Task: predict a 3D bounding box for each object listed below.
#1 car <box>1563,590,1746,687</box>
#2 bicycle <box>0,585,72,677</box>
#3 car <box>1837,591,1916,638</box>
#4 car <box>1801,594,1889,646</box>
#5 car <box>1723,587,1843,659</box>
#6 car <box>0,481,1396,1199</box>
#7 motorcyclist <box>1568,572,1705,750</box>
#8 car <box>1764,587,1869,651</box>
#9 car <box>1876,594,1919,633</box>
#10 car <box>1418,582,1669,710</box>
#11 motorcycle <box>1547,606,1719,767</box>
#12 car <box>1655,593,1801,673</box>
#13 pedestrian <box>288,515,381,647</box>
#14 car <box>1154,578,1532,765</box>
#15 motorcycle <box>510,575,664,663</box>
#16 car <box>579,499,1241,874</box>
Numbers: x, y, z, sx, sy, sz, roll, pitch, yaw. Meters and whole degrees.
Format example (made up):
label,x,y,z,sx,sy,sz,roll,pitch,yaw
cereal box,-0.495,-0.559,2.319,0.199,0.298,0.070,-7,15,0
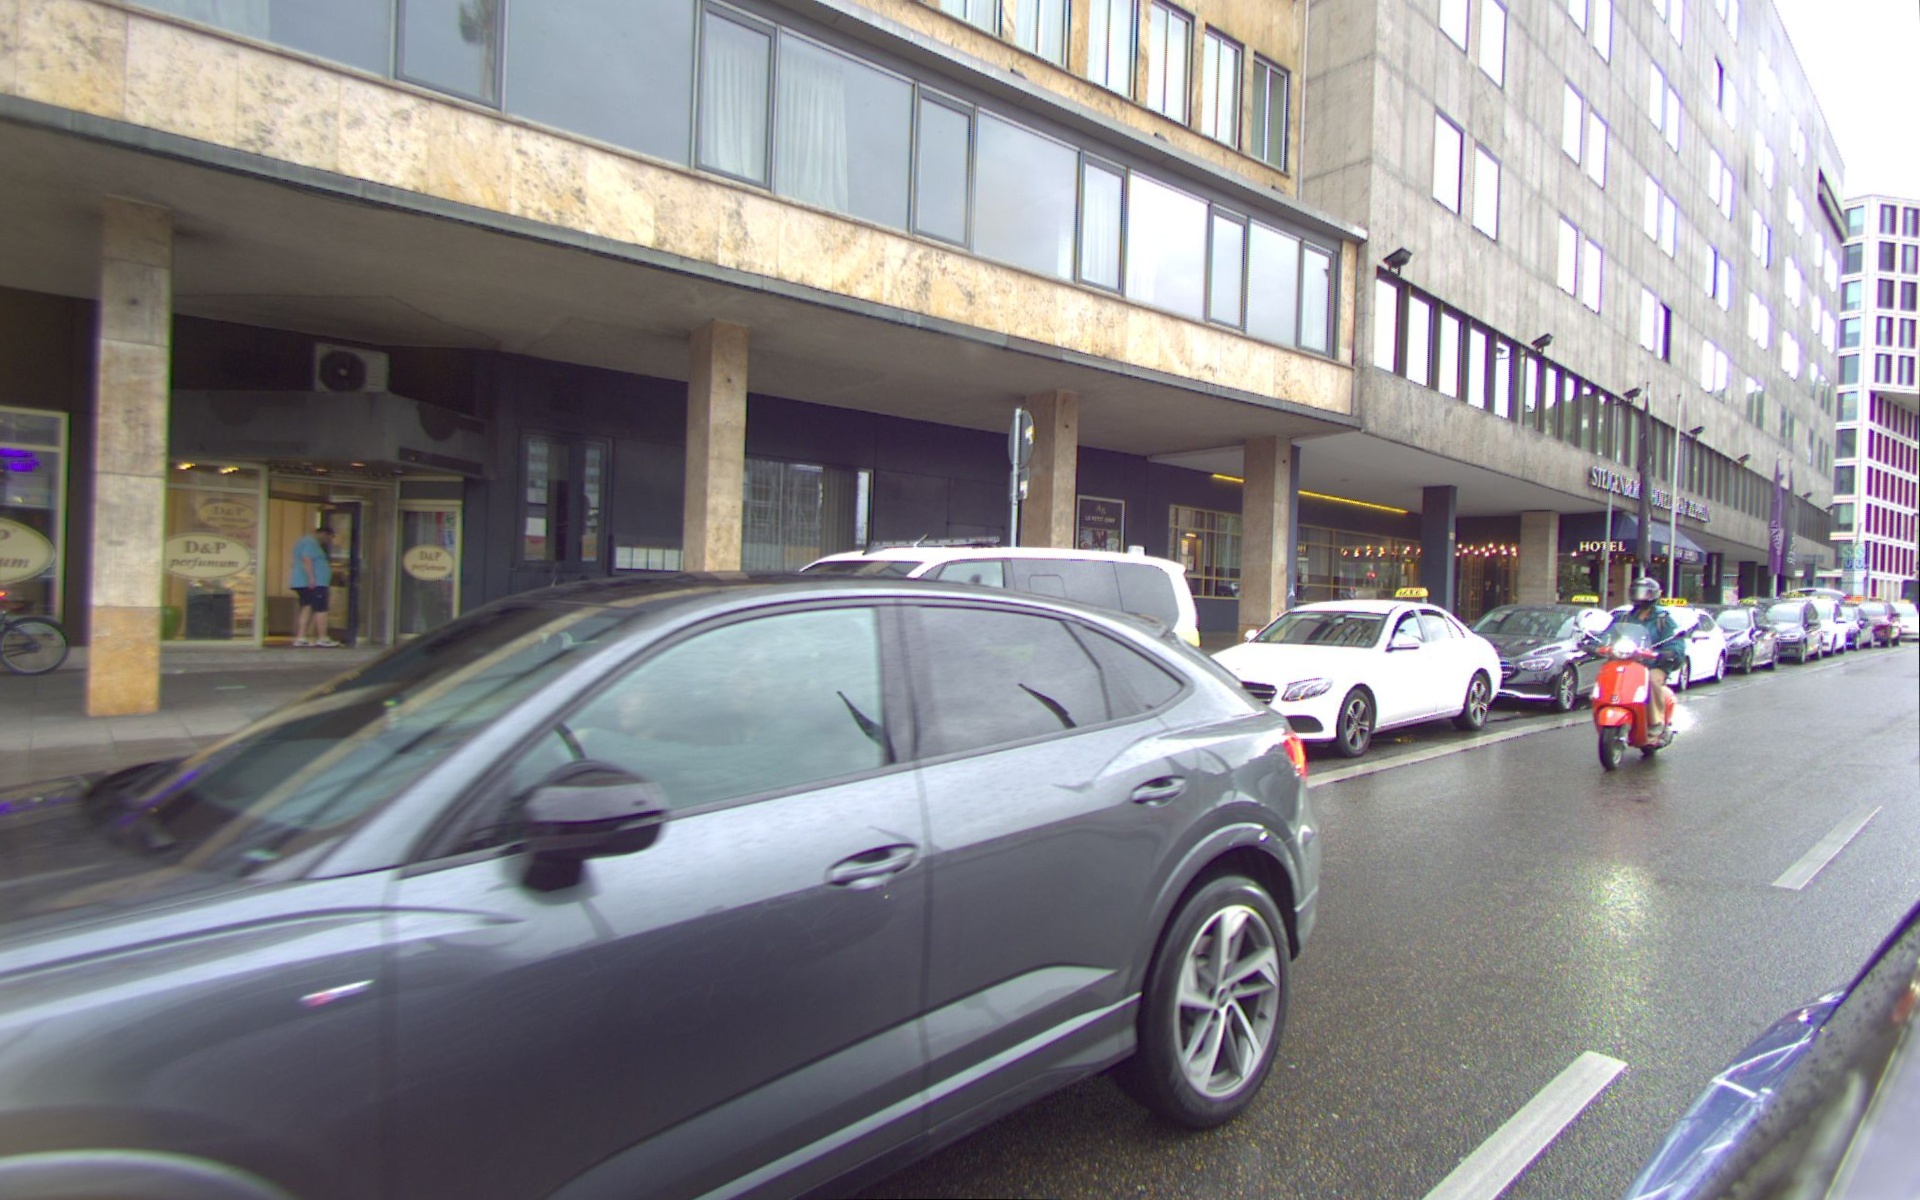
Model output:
label,x,y,z,sx,sy,sz,roll,pitch,yaw
car,13.141,0.621,19.024,4.731,1.612,1.729,0,0,-41
bicycle,-11.644,0.358,11.413,2.428,1.059,0.657,0,0,-41
car,33.671,0.482,37.152,3.932,1.634,1.729,0,0,-41
car,29.708,0.619,33.953,3.932,1.634,1.729,0,0,-41
car,21.917,0.540,26.884,4.731,1.764,1.729,0,0,-41
car,-0.736,0.606,2.790,4.266,1.520,1.882,0,0,-40
motorcyclist,6.257,0.525,9.364,0.829,1.547,0.860,0,0,-40
car,25.701,0.504,30.317,4.731,1.764,1.729,0,0,-41
car,41.208,0.544,43.939,3.932,1.634,1.729,0,0,-41
car,8.925,0.572,15.296,4.731,1.658,1.877,0,0,-41
motorcycle,6.276,0.726,9.397,1.931,1.323,0.848,0,0,-41
car,17.397,0.659,22.836,4.731,1.612,1.729,0,0,-41
pedestrian,-8.985,-0.262,14.541,1.114,1.813,0.801,0,0,-33
car,4.456,0.614,11.324,4.924,1.658,1.877,0,0,-41
motorcycle,-5.486,0.263,14.962,2.063,1.233,0.569,0,0,-33
car,-0.085,0.429,7.564,4.850,1.944,1.877,0,0,-41
